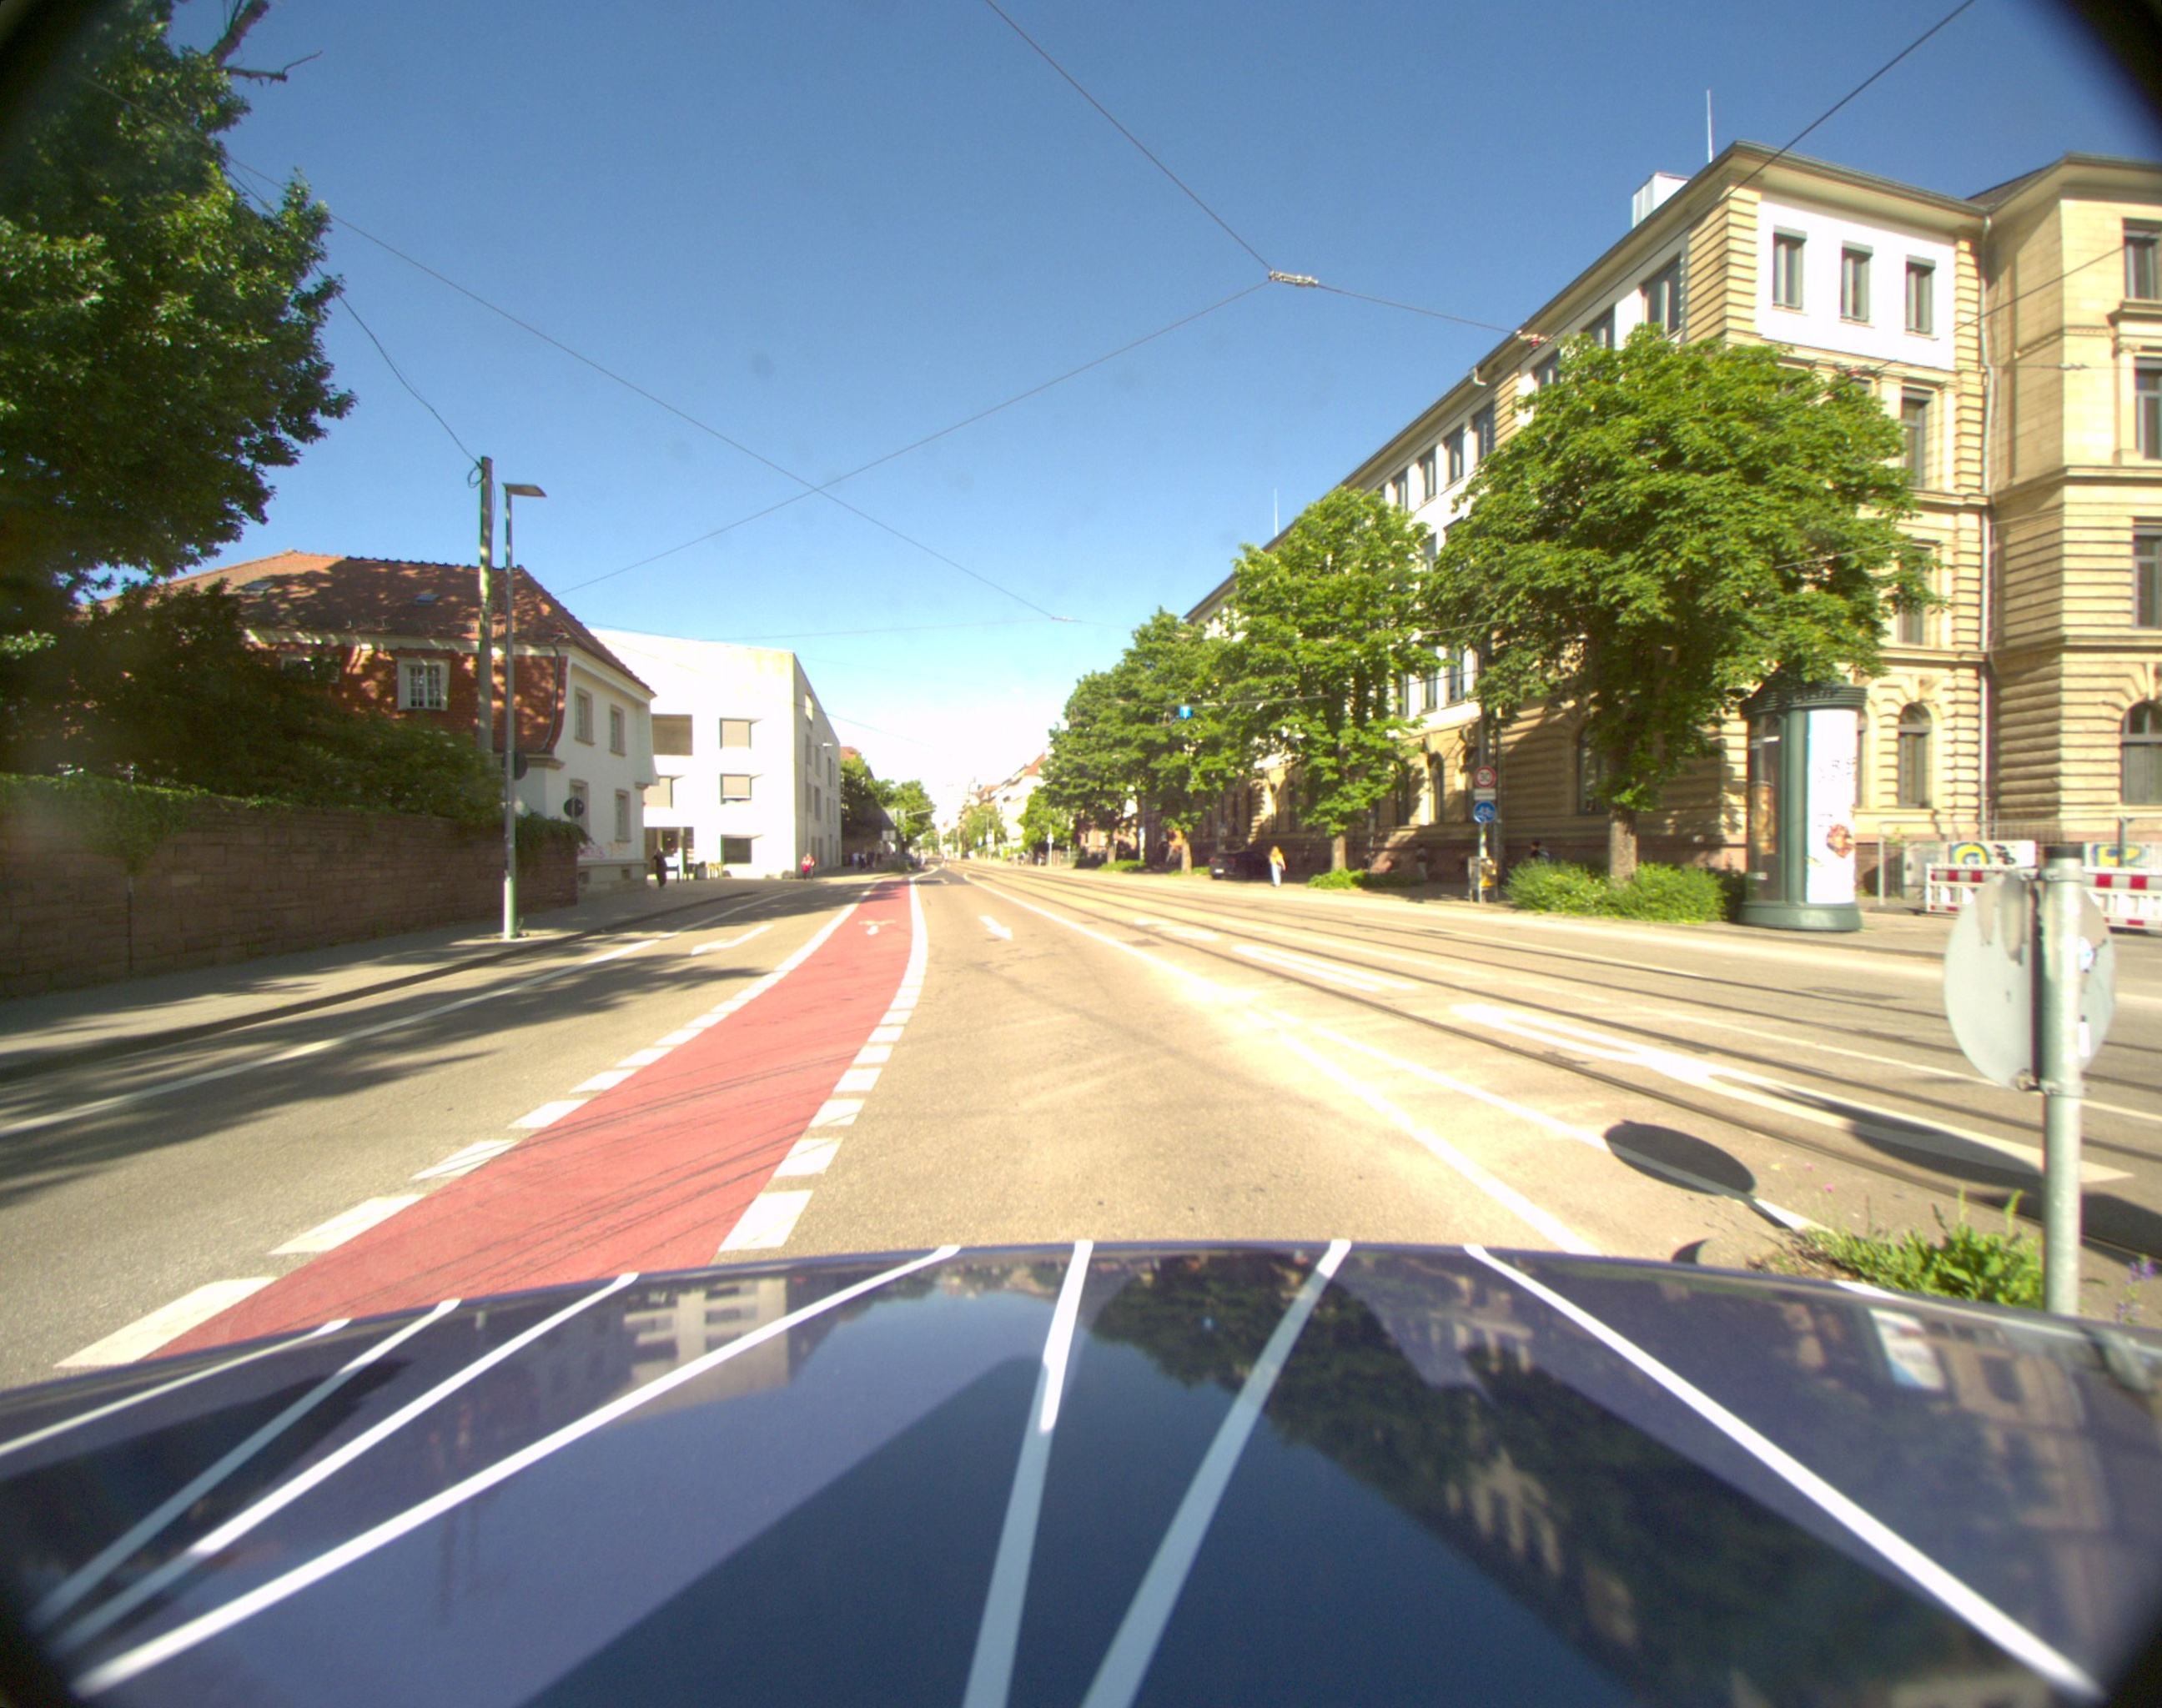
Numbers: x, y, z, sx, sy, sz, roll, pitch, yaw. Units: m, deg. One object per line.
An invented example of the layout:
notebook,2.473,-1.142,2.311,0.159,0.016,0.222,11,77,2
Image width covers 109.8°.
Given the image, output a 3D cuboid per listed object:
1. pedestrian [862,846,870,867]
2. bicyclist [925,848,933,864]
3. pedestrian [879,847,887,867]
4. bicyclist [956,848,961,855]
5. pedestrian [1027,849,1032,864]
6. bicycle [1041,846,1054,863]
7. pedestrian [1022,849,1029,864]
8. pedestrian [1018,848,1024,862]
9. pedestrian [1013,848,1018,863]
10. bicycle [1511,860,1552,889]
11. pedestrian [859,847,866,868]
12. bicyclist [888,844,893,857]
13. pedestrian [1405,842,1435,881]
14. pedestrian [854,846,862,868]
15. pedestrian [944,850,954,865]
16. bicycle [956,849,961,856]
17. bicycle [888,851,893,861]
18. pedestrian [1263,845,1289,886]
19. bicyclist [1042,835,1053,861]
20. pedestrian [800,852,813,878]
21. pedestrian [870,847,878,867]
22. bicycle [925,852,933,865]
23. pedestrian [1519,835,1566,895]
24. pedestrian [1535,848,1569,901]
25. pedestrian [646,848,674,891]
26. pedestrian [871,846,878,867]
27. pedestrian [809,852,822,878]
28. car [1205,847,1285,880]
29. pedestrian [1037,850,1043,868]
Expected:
pedestrian,-18.125,0.230,64.135,0.588,1.795,0.545,-1,1,-13
bicyclist,-14.238,0.144,71.186,0.665,1.453,0.622,-2,2,-8
pedestrian,-16.854,0.273,64.705,0.588,1.717,0.519,-1,1,-13
bicyclist,-30.583,-0.716,190.019,1.004,1.712,0.983,-2,2,-12
pedestrian,-6.495,0.272,95.991,0.579,1.845,0.653,-1,1,-11
bicycle,-3.784,0.035,86.704,1.003,1.876,3.894,-1,2,5
pedestrian,-6.857,0.247,94.224,0.729,1.845,0.653,0,1,-9
pedestrian,-7.519,0.131,95.401,0.579,1.845,0.684,-1,1,-11
pedestrian,-8.199,0.154,95.266,0.579,1.845,0.684,-1,1,-11
bicycle,15.262,0.697,25.763,0.398,0.898,1.359,-2,2,-10
pedestrian,-18.883,0.259,65.648,0.588,1.795,0.582,-1,1,-13
bicyclist,-35.204,-0.643,140.212,0.813,2.194,0.983,-2,2,-10
pedestrian,14.127,0.316,31.667,0.673,1.558,0.857,-5,2,-16
pedestrian,-18.846,0.250,64.174,0.588,1.795,0.545,-1,1,-13
pedestrian,-15.034,0.383,86.526,0.933,1.728,0.677,-1,1,-31
bicycle,-30.568,-0.300,190.041,1.004,1.672,2.980,-2,2,-12
bicycle,-35.188,0.387,140.332,0.831,1.694,2.169,-2,2,-10
pedestrian,8.143,0.500,31.799,0.771,1.658,1.034,1,-3,-5
bicyclist,-3.792,-0.714,86.898,1.003,2.959,1.474,-1,2,5
pedestrian,-16.457,0.678,45.627,0.534,1.557,0.520,0,1,7
pedestrian,-18.012,0.266,66.080,0.588,1.795,0.582,-1,1,-13
bicycle,-14.235,0.459,71.216,0.665,1.146,1.670,-2,2,-8
pedestrian,13.362,0.303,22.015,0.730,1.660,0.844,-1,4,-19
pedestrian,14.224,0.603,22.963,0.579,1.553,0.653,-1,1,-12
pedestrian,-17.173,0.631,31.011,0.942,1.668,0.951,1,1,-31
pedestrian,-17.480,0.218,64.338,0.588,1.795,0.519,-1,1,-13
pedestrian,-15.911,0.665,45.465,0.534,1.557,0.520,0,1,7
car,8.570,0.457,39.549,4.118,1.565,1.916,-1,1,-39
pedestrian,-4.312,0.519,79.851,0.579,1.845,0.653,-1,1,-16
